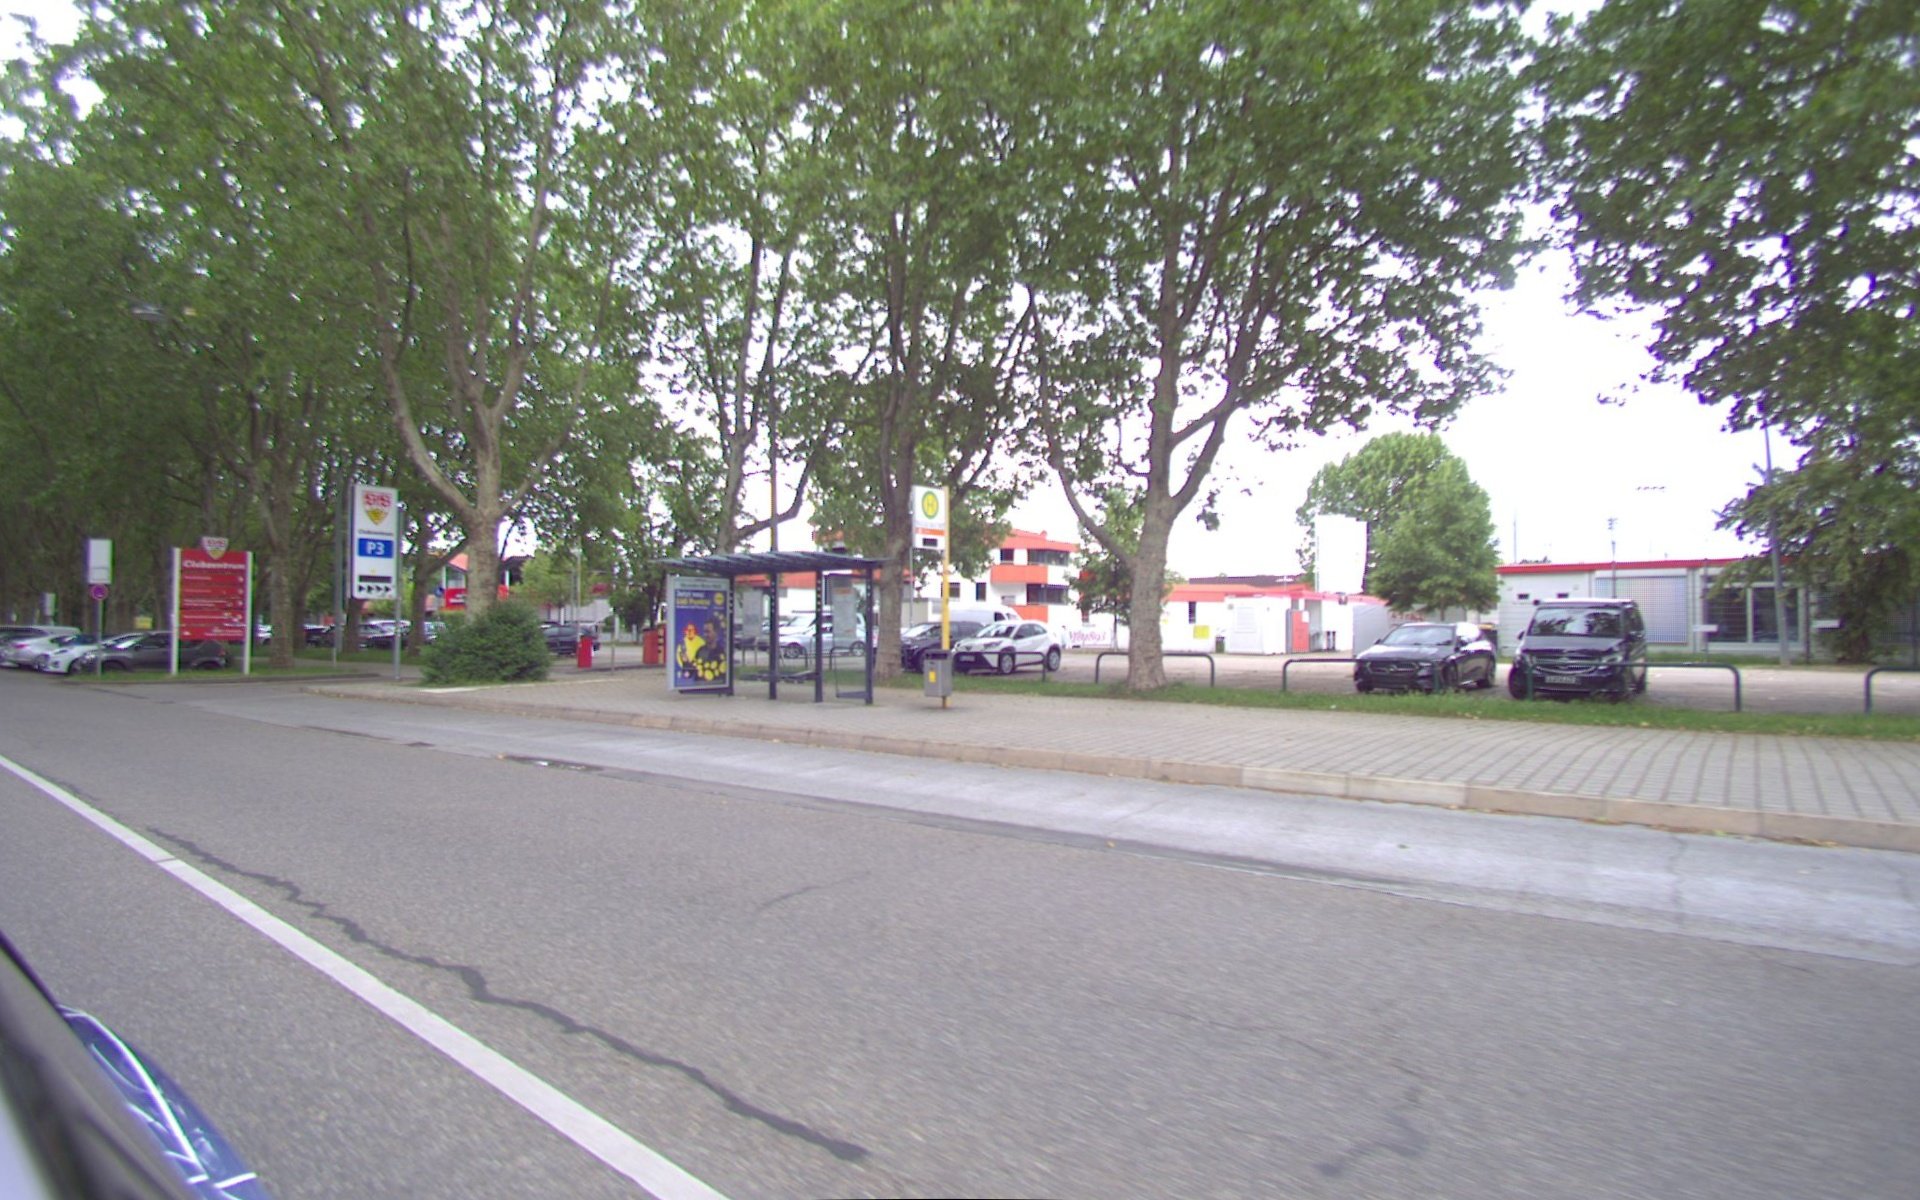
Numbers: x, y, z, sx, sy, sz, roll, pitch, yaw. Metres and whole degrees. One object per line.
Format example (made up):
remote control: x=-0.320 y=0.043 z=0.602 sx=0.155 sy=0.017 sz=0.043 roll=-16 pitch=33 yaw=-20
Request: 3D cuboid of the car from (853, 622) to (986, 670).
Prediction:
car: x=-1.173 y=1.358 z=30.919 sx=1.999 sy=1.334 sz=3.948 roll=-1 pitch=-1 yaw=39

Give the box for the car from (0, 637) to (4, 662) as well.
car: x=-56.292 y=2.727 z=56.554 sx=1.701 sy=1.409 sz=3.893 roll=-2 pitch=-4 yaw=38

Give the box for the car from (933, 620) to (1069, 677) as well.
car: x=1.245 y=1.355 z=29.566 sx=2.000 sy=1.534 sz=3.947 roll=-1 pitch=-1 yaw=40

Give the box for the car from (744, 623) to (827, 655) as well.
car: x=-9.009 y=2.006 z=52.585 sx=1.787 sy=1.560 sz=4.177 roll=-1 pitch=-1 yaw=38

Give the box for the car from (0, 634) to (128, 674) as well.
car: x=-35.349 y=2.062 z=39.661 sx=1.883 sy=1.415 sz=3.949 roll=-1 pitch=-1 yaw=38

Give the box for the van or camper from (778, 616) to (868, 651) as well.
van or camper: x=-6.910 y=1.667 z=51.364 sx=2.129 sy=1.722 sz=4.279 roll=-1 pitch=-1 yaw=38

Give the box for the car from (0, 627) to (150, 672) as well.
car: x=-33.359 y=1.880 z=37.963 sx=1.905 sy=1.560 sz=4.223 roll=-1 pitch=-5 yaw=37

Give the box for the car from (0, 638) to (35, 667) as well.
car: x=-49.028 y=2.583 z=50.571 sx=1.755 sy=1.432 sz=3.935 roll=-2 pitch=-5 yaw=42

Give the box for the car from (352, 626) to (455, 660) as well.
car: x=-30.637 y=2.326 z=55.802 sx=2.294 sy=1.775 sz=4.474 roll=-1 pitch=-1 yaw=38

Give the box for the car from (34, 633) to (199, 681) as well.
car: x=-27.477 y=1.821 z=33.048 sx=1.911 sy=1.395 sz=3.950 roll=-1 pitch=-1 yaw=43

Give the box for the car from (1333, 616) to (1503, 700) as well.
car: x=9.957 y=1.141 z=21.823 sx=2.108 sy=1.579 sz=4.577 roll=0 pitch=-1 yaw=42

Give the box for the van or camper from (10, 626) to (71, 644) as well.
van or camper: x=-112.953 y=4.295 z=124.417 sx=2.241 sy=2.115 sz=5.236 roll=-1 pitch=-1 yaw=37

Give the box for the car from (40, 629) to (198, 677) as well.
car: x=-29.075 y=1.801 z=35.094 sx=1.830 sy=1.505 sz=3.954 roll=-1 pitch=-1 yaw=39

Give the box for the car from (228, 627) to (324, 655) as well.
car: x=-45.905 y=2.717 z=67.979 sx=2.179 sy=1.810 sz=4.896 roll=-2 pitch=-2 yaw=37

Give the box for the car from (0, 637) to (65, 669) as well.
car: x=-44.964 y=2.500 z=47.714 sx=1.757 sy=1.483 sz=3.757 roll=-1 pitch=-4 yaw=29

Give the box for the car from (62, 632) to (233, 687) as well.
car: x=-25.418 y=1.809 z=31.760 sx=1.804 sy=1.552 sz=3.952 roll=-1 pitch=-1 yaw=41

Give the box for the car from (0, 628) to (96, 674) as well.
car: x=-38.009 y=2.062 z=40.968 sx=1.866 sy=1.824 sz=4.274 roll=-2 pitch=-4 yaw=39

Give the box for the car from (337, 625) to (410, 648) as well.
car: x=-49.733 y=3.050 z=85.871 sx=2.179 sy=1.810 sz=4.896 roll=-1 pitch=-1 yaw=37

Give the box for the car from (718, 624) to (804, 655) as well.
car: x=-10.625 y=2.098 z=54.252 sx=1.957 sy=1.560 sz=4.279 roll=-1 pitch=-1 yaw=38

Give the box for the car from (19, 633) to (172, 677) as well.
car: x=-31.060 y=1.936 z=36.445 sx=1.860 sy=1.416 sz=3.947 roll=-1 pitch=-1 yaw=39

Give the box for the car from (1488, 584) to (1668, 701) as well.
car: x=12.329 y=0.774 z=20.059 sx=2.262 sy=2.041 sz=4.567 roll=-1 pitch=-1 yaw=42

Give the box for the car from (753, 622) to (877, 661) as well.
car: x=-6.280 y=1.777 z=43.810 sx=4.891 sy=1.564 sz=2.107 roll=0 pitch=-1 yaw=-24

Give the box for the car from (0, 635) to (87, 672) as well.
car: x=-39.462 y=2.248 z=42.365 sx=2.012 sy=1.463 sz=4.085 roll=-2 pitch=-5 yaw=41

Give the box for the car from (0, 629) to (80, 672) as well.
car: x=-41.279 y=2.187 z=43.999 sx=2.035 sy=1.809 sz=4.274 roll=-1 pitch=-1 yaw=39

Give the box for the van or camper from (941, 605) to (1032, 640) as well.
van or camper: x=1.518 y=1.335 z=59.949 sx=5.297 sy=2.029 sz=1.974 roll=-1 pitch=-1 yaw=39

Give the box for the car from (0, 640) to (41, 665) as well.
car: x=-52.181 y=2.788 z=54.019 sx=1.900 sy=1.358 sz=4.416 roll=-2 pitch=-4 yaw=41

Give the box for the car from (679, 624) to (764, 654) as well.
car: x=-12.992 y=2.097 z=55.351 sx=1.957 sy=1.560 sz=4.279 roll=-1 pitch=-1 yaw=38

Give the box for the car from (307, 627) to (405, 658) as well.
car: x=-35.927 y=2.488 z=60.306 sx=2.294 sy=1.739 sz=4.507 roll=-1 pitch=-1 yaw=38

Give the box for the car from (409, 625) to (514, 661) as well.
car: x=-24.990 y=2.118 z=50.864 sx=2.129 sy=1.722 sz=4.279 roll=-1 pitch=-1 yaw=38

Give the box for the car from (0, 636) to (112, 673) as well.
car: x=-37.354 y=2.172 z=41.119 sx=1.964 sy=1.364 sz=4.150 roll=-1 pitch=-1 yaw=37

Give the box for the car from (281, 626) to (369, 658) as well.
car: x=-39.936 y=2.618 z=63.707 sx=2.026 sy=1.875 sz=4.279 roll=-1 pitch=-1 yaw=38

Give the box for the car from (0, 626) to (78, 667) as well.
car: x=-43.038 y=2.113 z=45.825 sx=1.863 sy=1.824 sz=4.279 roll=-2 pitch=-4 yaw=36
